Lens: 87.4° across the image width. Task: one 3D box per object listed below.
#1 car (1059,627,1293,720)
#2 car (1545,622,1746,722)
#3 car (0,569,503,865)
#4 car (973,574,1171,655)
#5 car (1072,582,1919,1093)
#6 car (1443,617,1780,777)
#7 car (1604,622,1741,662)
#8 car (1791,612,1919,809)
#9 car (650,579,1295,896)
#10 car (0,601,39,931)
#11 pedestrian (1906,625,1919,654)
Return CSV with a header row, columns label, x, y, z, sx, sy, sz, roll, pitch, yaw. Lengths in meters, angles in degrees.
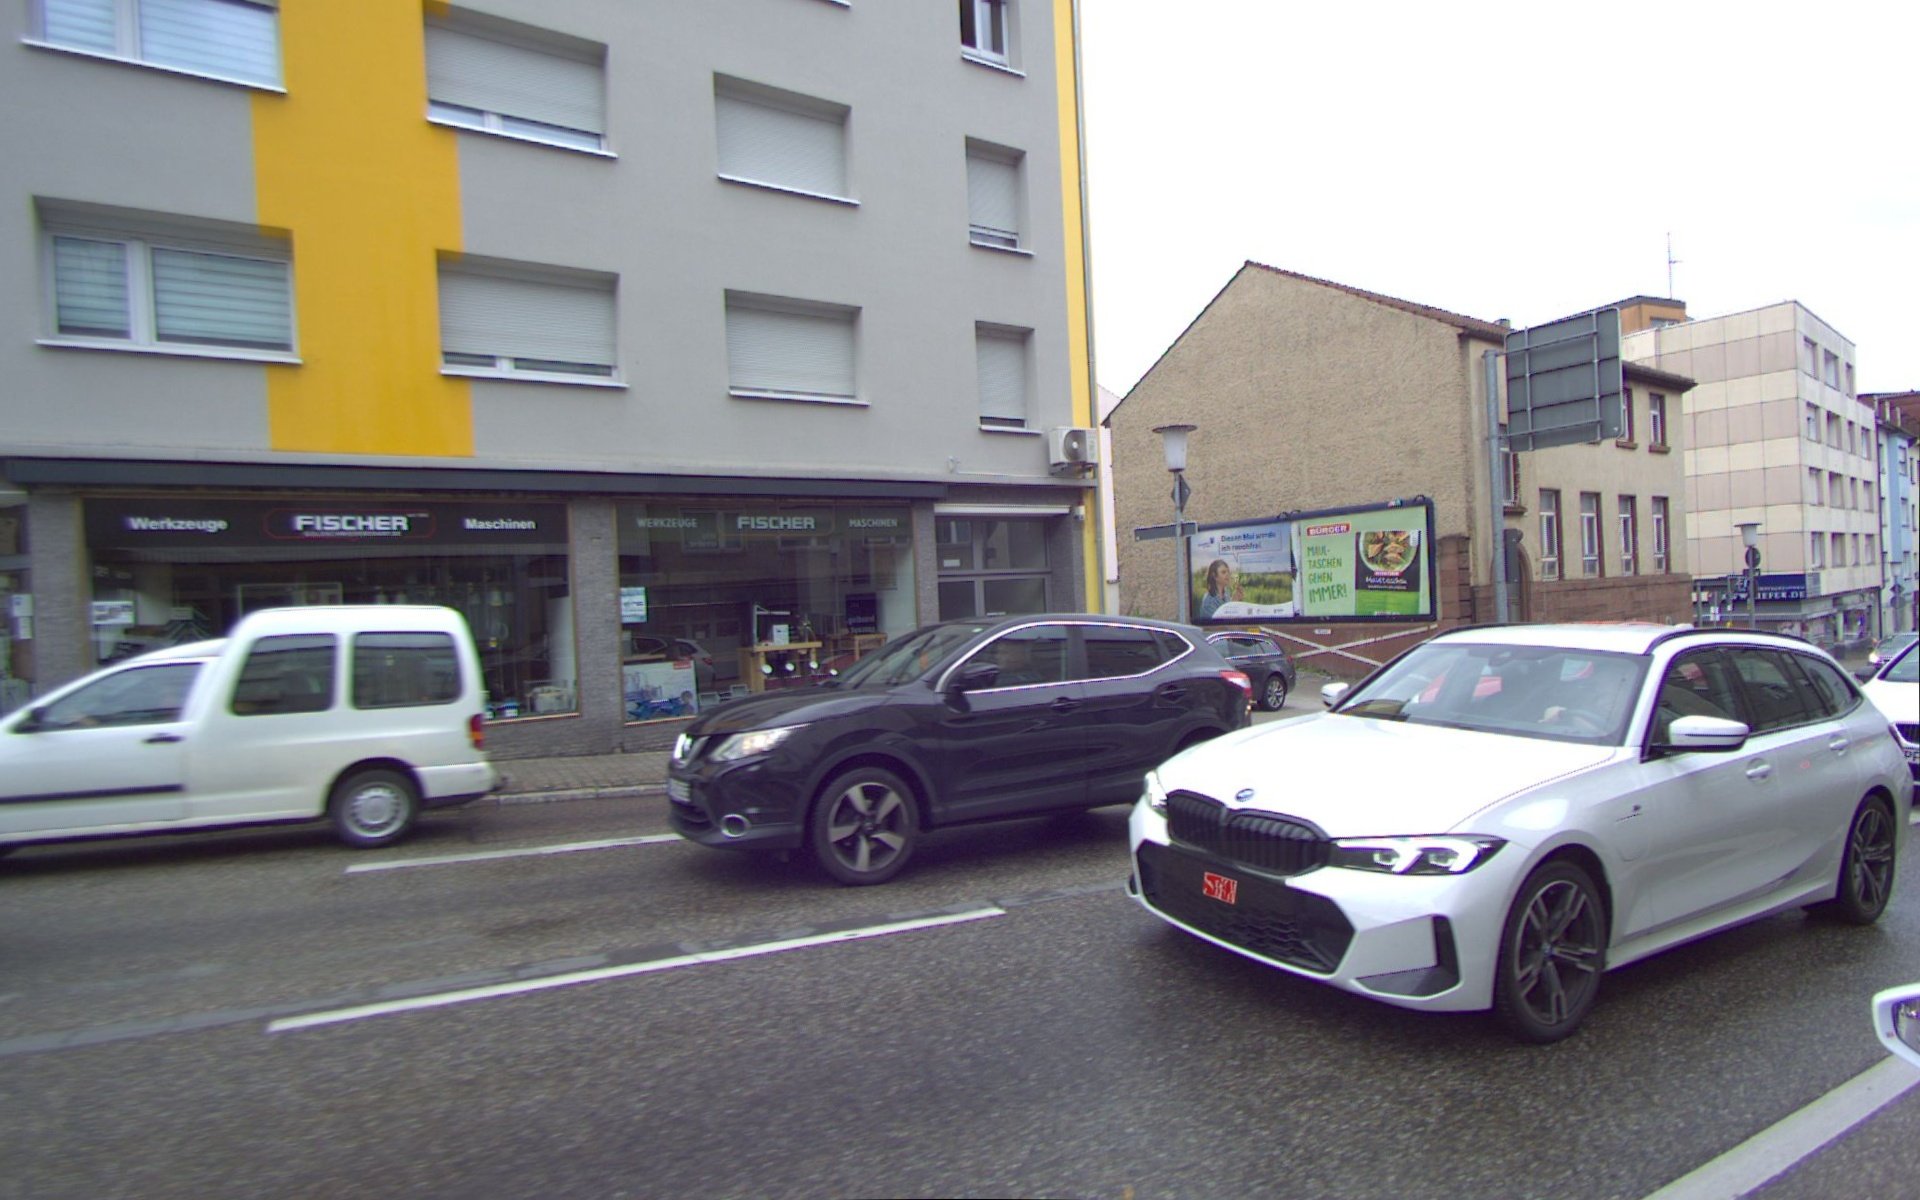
label,x,y,z,sx,sy,sz,roll,pitch,yaw
car,4.107,1.277,18.692,4.623,1.474,1.678,1,0,-38
car,12.498,1.282,18.260,3.887,1.631,1.646,2,-4,-34
car,-5.659,0.841,7.491,4.009,1.852,1.722,1,-7,-28
car,2.292,0.301,20.229,3.815,1.483,1.680,1,-1,-35
car,2.889,0.800,5.012,4.510,1.541,1.797,2,-2,-32
car,7.529,1.033,11.517,4.087,1.535,1.730,2,-4,-34
car,29.907,1.731,42.300,1.874,1.532,4.315,1,-1,-28
car,9.228,0.915,8.819,4.243,1.500,1.689,2,0,-32
car,0.185,0.830,7.149,4.292,1.652,1.798,2,-4,-31
car,-6.314,0.795,3.409,4.320,1.563,1.801,-1,-1,-26
pedestrian,56.257,2.334,59.135,0.601,1.675,0.733,-4,2,-42
